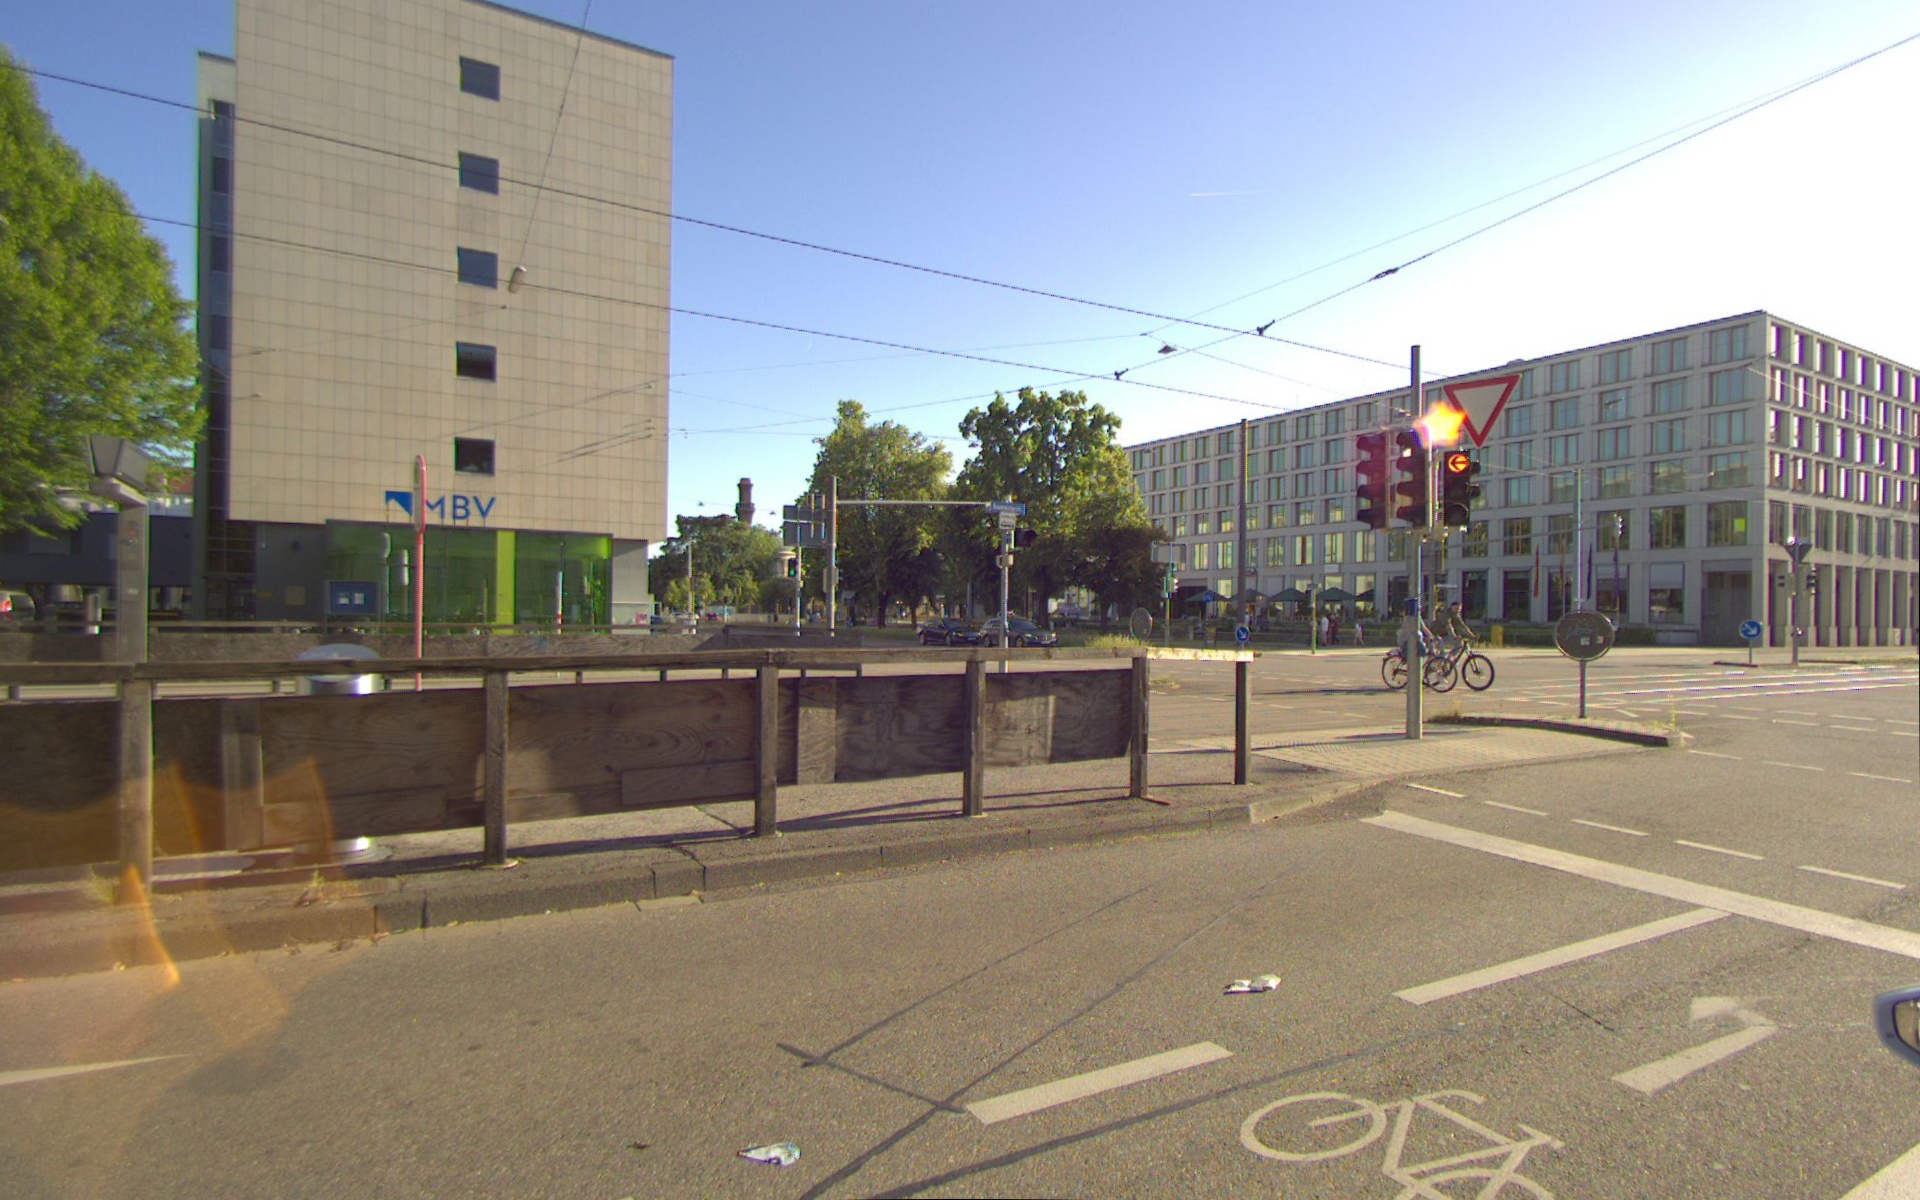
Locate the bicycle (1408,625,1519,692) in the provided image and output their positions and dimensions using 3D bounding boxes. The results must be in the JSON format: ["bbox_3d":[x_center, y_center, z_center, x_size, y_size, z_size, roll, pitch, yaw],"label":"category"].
[{"bbox_3d":[10.525,1.194,21.055,0.783,1.308,1.975,1,-1,-31],"label":"bicycle"}]

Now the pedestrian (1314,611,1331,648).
[{"bbox_3d":[20.199,1.643,55.923,0.793,2.040,0.526,1,-1,-36],"label":"pedestrian"}]

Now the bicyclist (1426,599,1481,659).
[{"bbox_3d":[10.433,0.613,21.240,0.788,1.235,0.717,1,-1,-31],"label":"bicyclist"}]

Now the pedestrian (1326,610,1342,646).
[{"bbox_3d":[21.007,1.565,56.407,0.793,2.040,0.526,1,-1,-36],"label":"pedestrian"}]

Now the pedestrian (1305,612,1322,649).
[{"bbox_3d":[19.483,1.668,55.426,0.793,2.040,0.526,1,-1,-36],"label":"pedestrian"}]

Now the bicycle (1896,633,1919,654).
[{"bbox_3d":[52.703,2.391,55.312,2.976,1.136,0.871,1,-1,-29],"label":"bicycle"}]

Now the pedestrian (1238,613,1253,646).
[{"bbox_3d":[17.022,1.749,59.870,0.672,1.928,0.560,1,-1,-21],"label":"pedestrian"}]

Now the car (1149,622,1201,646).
[{"bbox_3d":[13.513,2.139,63.298,1.455,1.457,3.167,1,-1,-32],"label":"car"}]

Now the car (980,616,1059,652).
[{"bbox_3d":[2.753,1.570,47.355,1.708,1.595,4.140,1,-1,-31],"label":"car"}]

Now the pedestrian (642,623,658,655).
[{"bbox_3d":[-15.458,1.946,50.079,0.593,1.561,0.620,1,-1,-32],"label":"pedestrian"}]

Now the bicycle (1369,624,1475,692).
[{"bbox_3d":[9.374,1.151,20.432,0.783,1.308,1.840,1,-1,-33],"label":"bicycle"}]

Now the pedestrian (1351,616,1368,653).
[{"bbox_3d":[21.975,1.889,55.221,0.793,2.040,0.526,1,-1,-36],"label":"pedestrian"}]

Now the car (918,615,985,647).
[{"bbox_3d":[-0.481,1.580,53.007,1.801,1.595,3.967,0,0,-31],"label":"car"}]

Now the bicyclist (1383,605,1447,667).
[{"bbox_3d":[9.300,0.720,20.546,0.788,1.235,0.920,1,-1,-33],"label":"bicyclist"}]

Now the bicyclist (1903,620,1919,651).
[{"bbox_3d":[52.542,1.947,55.210,0.812,1.663,0.872,1,-1,-29],"label":"bicyclist"}]
